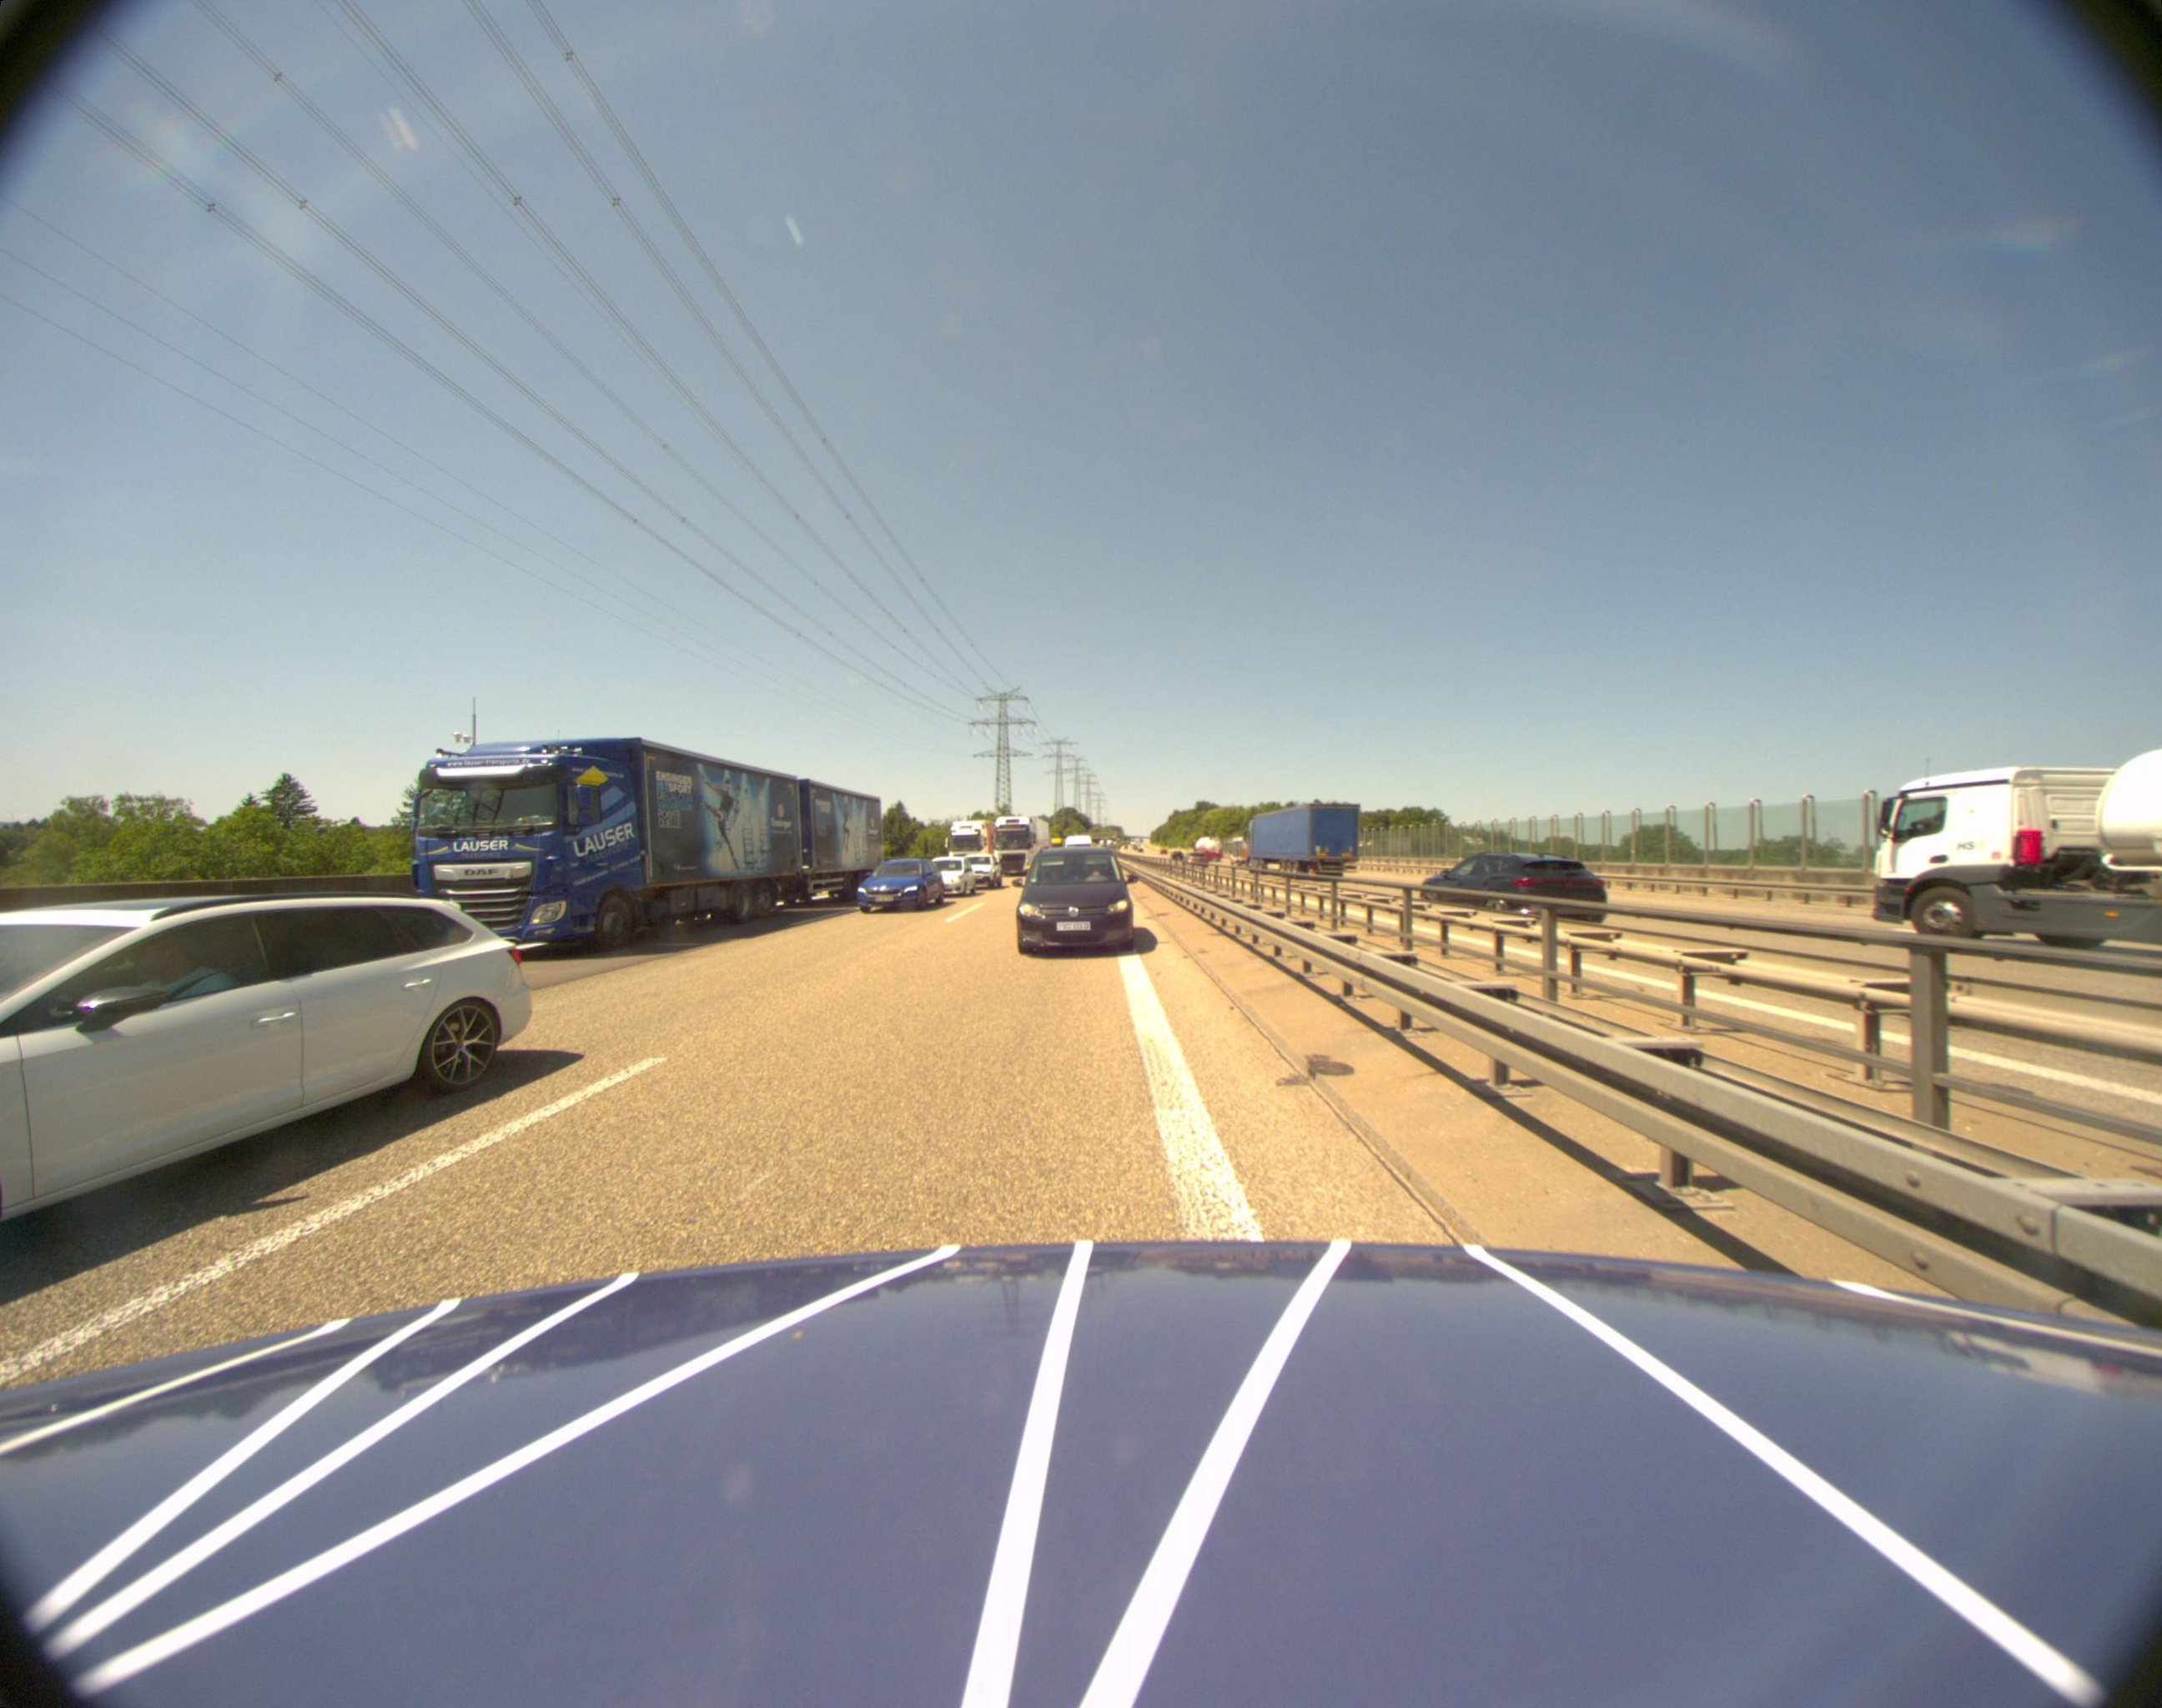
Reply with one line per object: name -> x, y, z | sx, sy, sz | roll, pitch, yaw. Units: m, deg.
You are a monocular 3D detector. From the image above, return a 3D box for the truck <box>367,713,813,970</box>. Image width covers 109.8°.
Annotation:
truck -> -9.549, -0.280, 17.148 | 2.859, 3.927, 10.393 | -2, 1, 2

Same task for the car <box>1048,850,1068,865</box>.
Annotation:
car -> -2.525, 0.392, 84.222 | 1.924, 1.501, 3.996 | -2, 1, 2

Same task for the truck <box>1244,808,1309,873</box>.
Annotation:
truck -> 12.955, -0.904, 50.836 | 2.760, 4.093, 6.264 | 0, 1, 1

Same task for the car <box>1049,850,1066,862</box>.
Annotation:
car -> -3.152, 0.242, 102.647 | 1.924, 1.501, 3.996 | -2, 1, 2

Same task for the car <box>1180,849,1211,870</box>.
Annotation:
car -> 9.282, 0.426, 61.901 | 1.886, 1.543, 4.188 | -2, 1, 0

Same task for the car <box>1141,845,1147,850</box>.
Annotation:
car -> 20.704, -2.131, 249.359 | 1.704, 1.412, 3.999 | 2, 1, 1

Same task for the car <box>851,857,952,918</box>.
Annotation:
car -> -5.149, 0.910, 22.430 | 1.712, 1.443, 4.563 | -2, 1, 2

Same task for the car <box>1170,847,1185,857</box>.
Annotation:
car -> 14.176, -0.325, 111.900 | 1.802, 1.490, 3.851 | 0, 1, 1

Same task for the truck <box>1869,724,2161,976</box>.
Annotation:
truck -> 16.348, -0.072, 11.858 | 2.526, 3.515, 5.329 | 0, 1, 2

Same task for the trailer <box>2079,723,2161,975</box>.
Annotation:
trailer -> 16.231, 0.015, 5.969 | 2.505, 3.520, 10.902 | 0, 1, 1

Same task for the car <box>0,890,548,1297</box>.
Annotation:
car -> -5.110, 1.047, 3.773 | 1.713, 1.443, 4.429 | -2, 0, 1

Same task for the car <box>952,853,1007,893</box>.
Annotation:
car -> -4.402, 0.781, 33.533 | 1.712, 1.501, 4.144 | -2, 1, 2

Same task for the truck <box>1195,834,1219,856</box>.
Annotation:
truck -> 19.439, -1.405, 117.643 | 2.915, 3.396, 6.294 | 1, 1, 2

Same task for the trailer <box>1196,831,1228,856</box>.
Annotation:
trailer -> 19.236, -1.576, 112.220 | 2.883, 3.360, 12.006 | 1, 1, 2

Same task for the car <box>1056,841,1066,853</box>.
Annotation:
car -> -4.354, -1.538, 165.861 | 1.704, 2.525, 3.999 | 2, 1, 1

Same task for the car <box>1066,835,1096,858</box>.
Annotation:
car -> 0.045, -0.553, 52.908 | 1.924, 1.501, 3.996 | -2, 1, 2

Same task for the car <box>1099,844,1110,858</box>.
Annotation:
car -> 3.806, -0.486, 123.167 | 1.704, 2.116, 3.999 | -2, 1, 1

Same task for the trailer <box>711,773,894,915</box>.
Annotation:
trailer -> -9.260, -0.374, 26.655 | 2.835, 4.066, 8.637 | -2, 1, 2

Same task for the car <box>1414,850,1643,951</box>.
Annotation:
car -> 8.302, 0.755, 14.624 | 1.886, 1.543, 4.188 | -2, 1, 0

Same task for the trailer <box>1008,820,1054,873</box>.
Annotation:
trailer -> -3.877, -0.662, 60.960 | 2.822, 3.830, 9.083 | -2, 1, 1

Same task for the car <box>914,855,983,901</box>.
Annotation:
car -> -4.887, 0.844, 28.611 | 1.712, 1.443, 4.144 | -2, 1, 2

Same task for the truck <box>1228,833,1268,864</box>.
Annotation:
truck -> 18.048, -0.665, 82.498 | 2.569, 3.170, 8.292 | 2, 1, 1

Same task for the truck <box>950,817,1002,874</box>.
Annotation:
truck -> -7.916, -0.703, 58.405 | 2.608, 3.965, 8.263 | -2, 1, 1

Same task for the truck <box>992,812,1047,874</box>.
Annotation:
truck -> -4.106, -0.753, 52.346 | 2.849, 3.804, 8.263 | -2, 1, 1

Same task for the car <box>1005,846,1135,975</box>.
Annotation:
car -> -0.118, 0.760, 12.358 | 1.712, 1.669, 3.931 | -2, 1, 1

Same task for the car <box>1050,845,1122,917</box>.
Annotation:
car -> 0.152, 0.641, 20.606 | 1.712, 1.669, 3.931 | -2, 1, 1

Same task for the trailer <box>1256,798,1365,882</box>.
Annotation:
trailer -> 12.862, -0.801, 44.013 | 2.711, 4.142, 12.047 | 0, 1, 0

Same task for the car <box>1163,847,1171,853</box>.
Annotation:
car -> 22.921, -1.113, 203.531 | 1.786, 1.412, 3.999 | 2, 1, 1
